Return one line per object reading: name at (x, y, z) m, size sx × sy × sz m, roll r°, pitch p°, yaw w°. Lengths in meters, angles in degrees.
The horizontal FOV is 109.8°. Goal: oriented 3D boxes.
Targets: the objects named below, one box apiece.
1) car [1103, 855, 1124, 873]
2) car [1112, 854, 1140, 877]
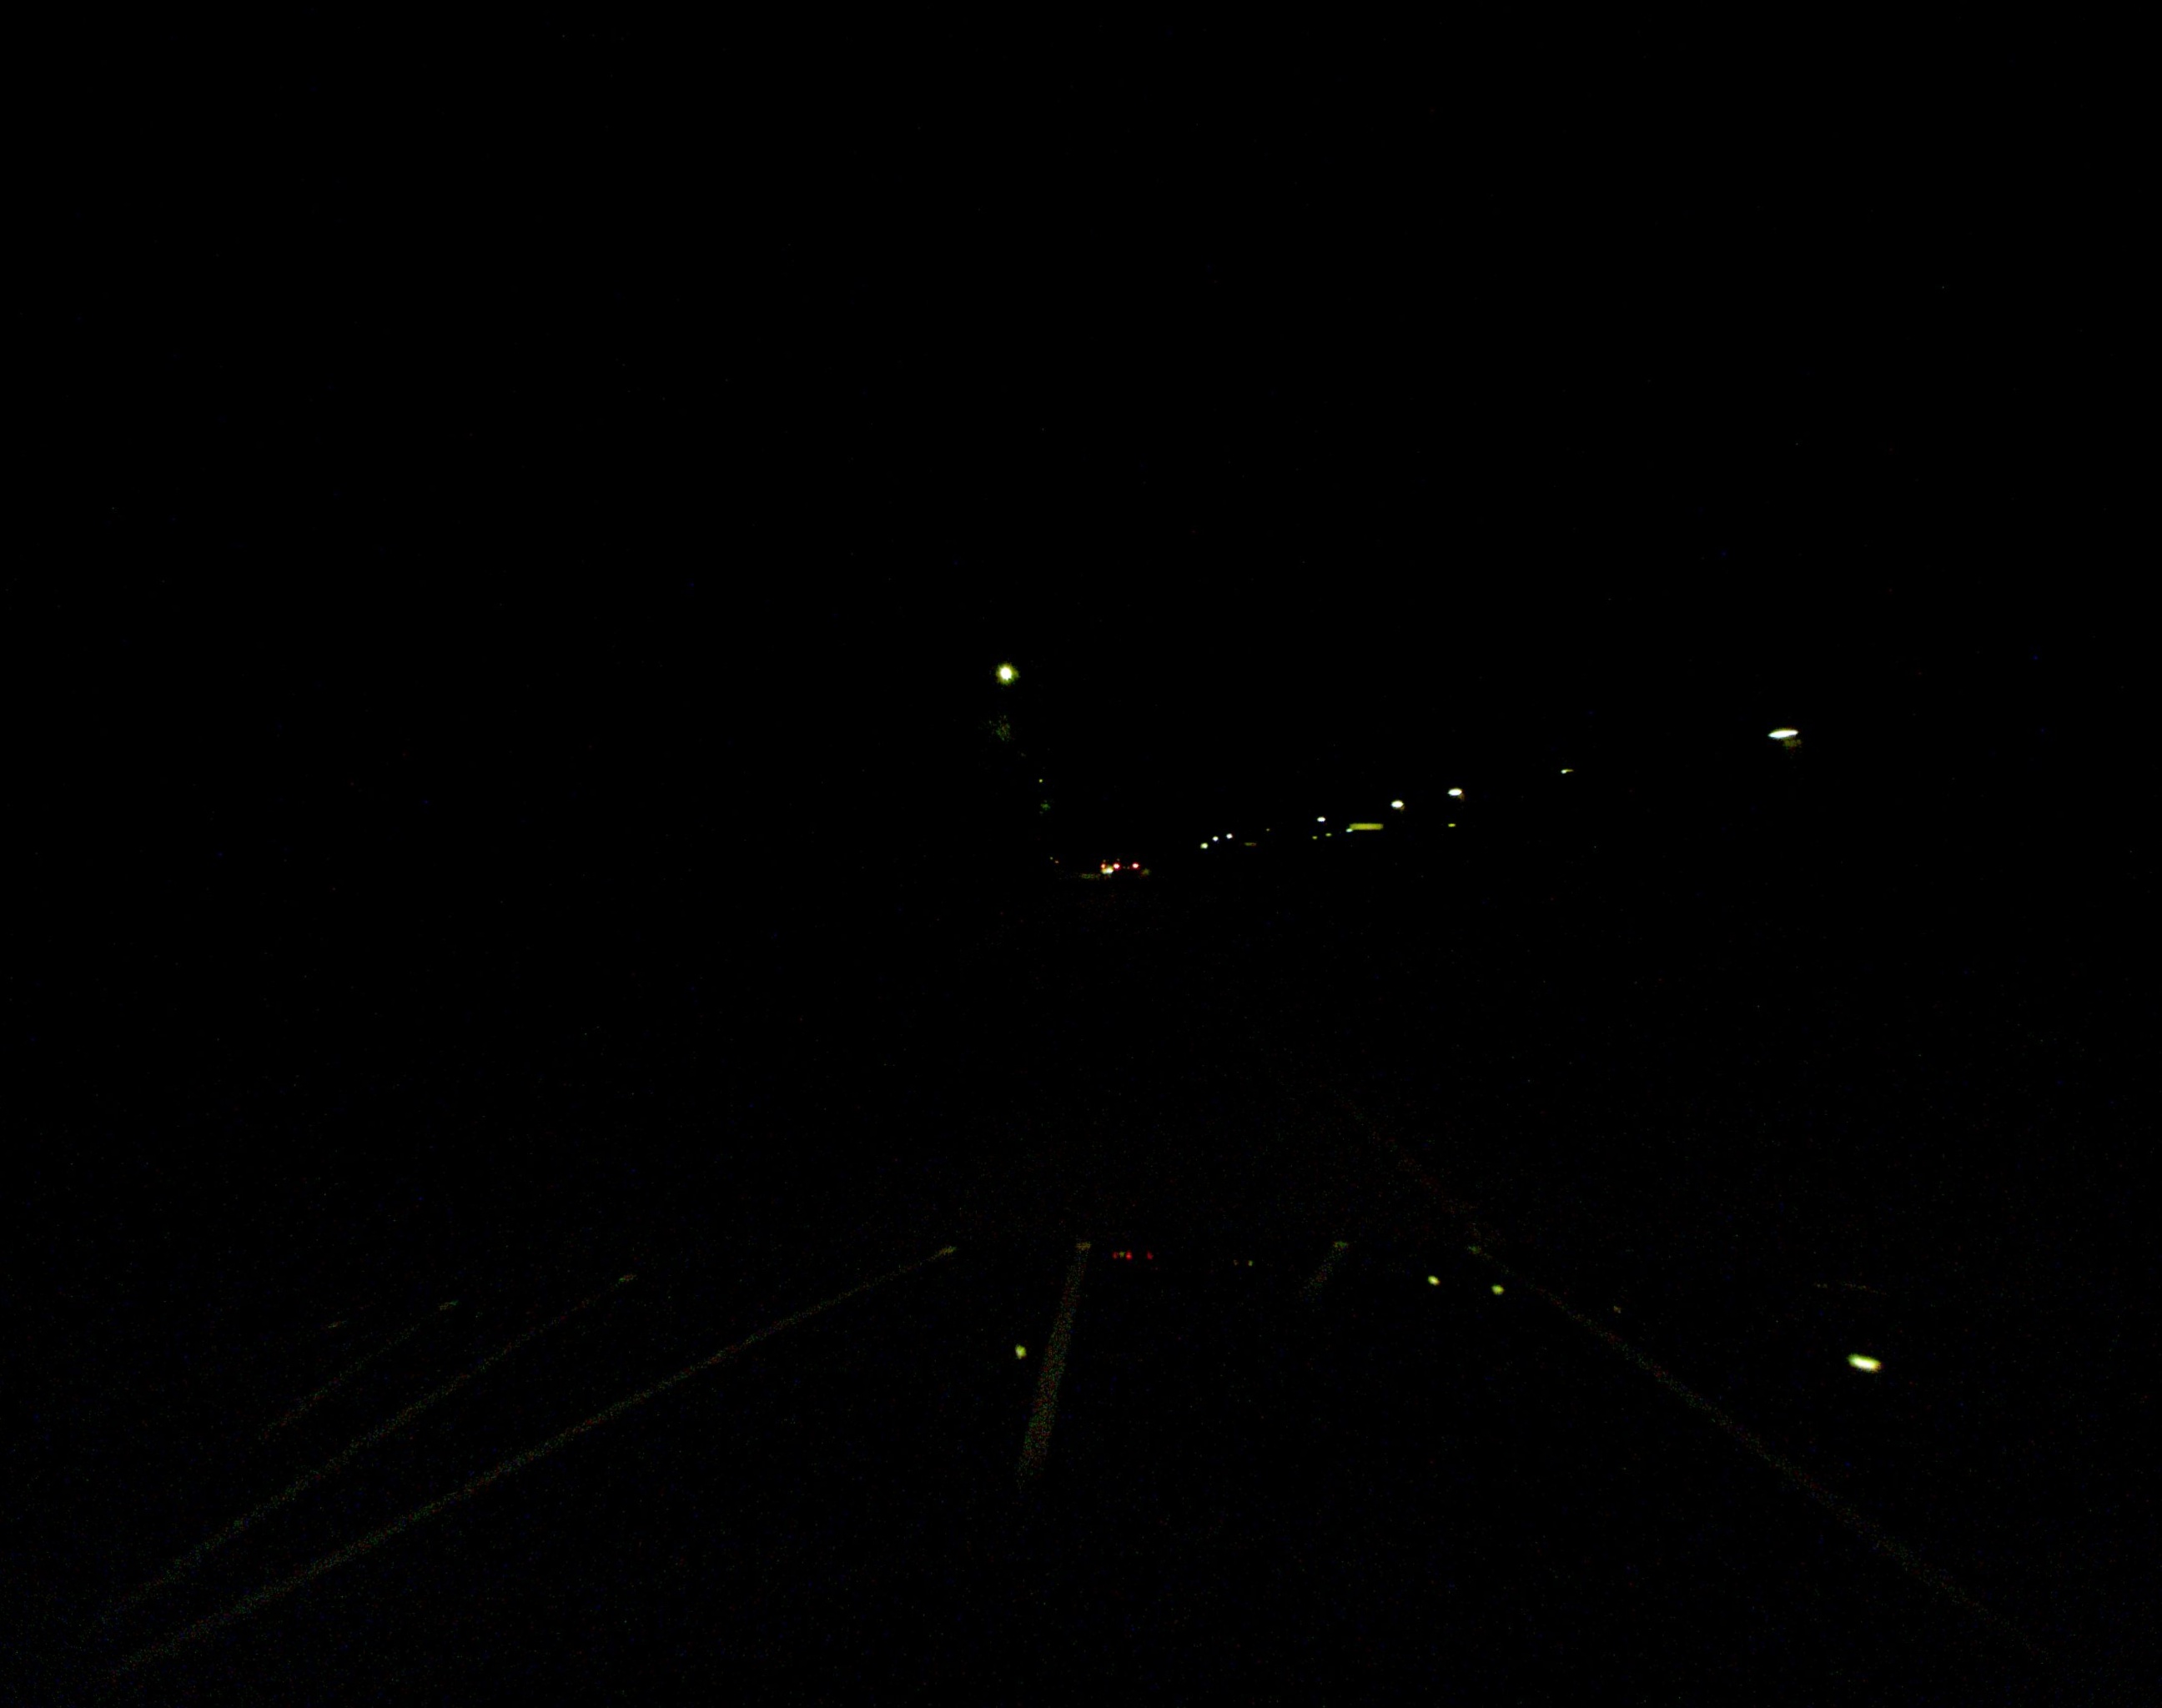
car at (2.900, 0.883, 68.921) m, size 1.692 × 1.449 × 4.000 m, roll -2°, pitch 0°, yaw 0°
car at (3.058, 0.780, 52.187) m, size 1.651 × 1.483 × 3.557 m, roll -2°, pitch 0°, yaw -1°
